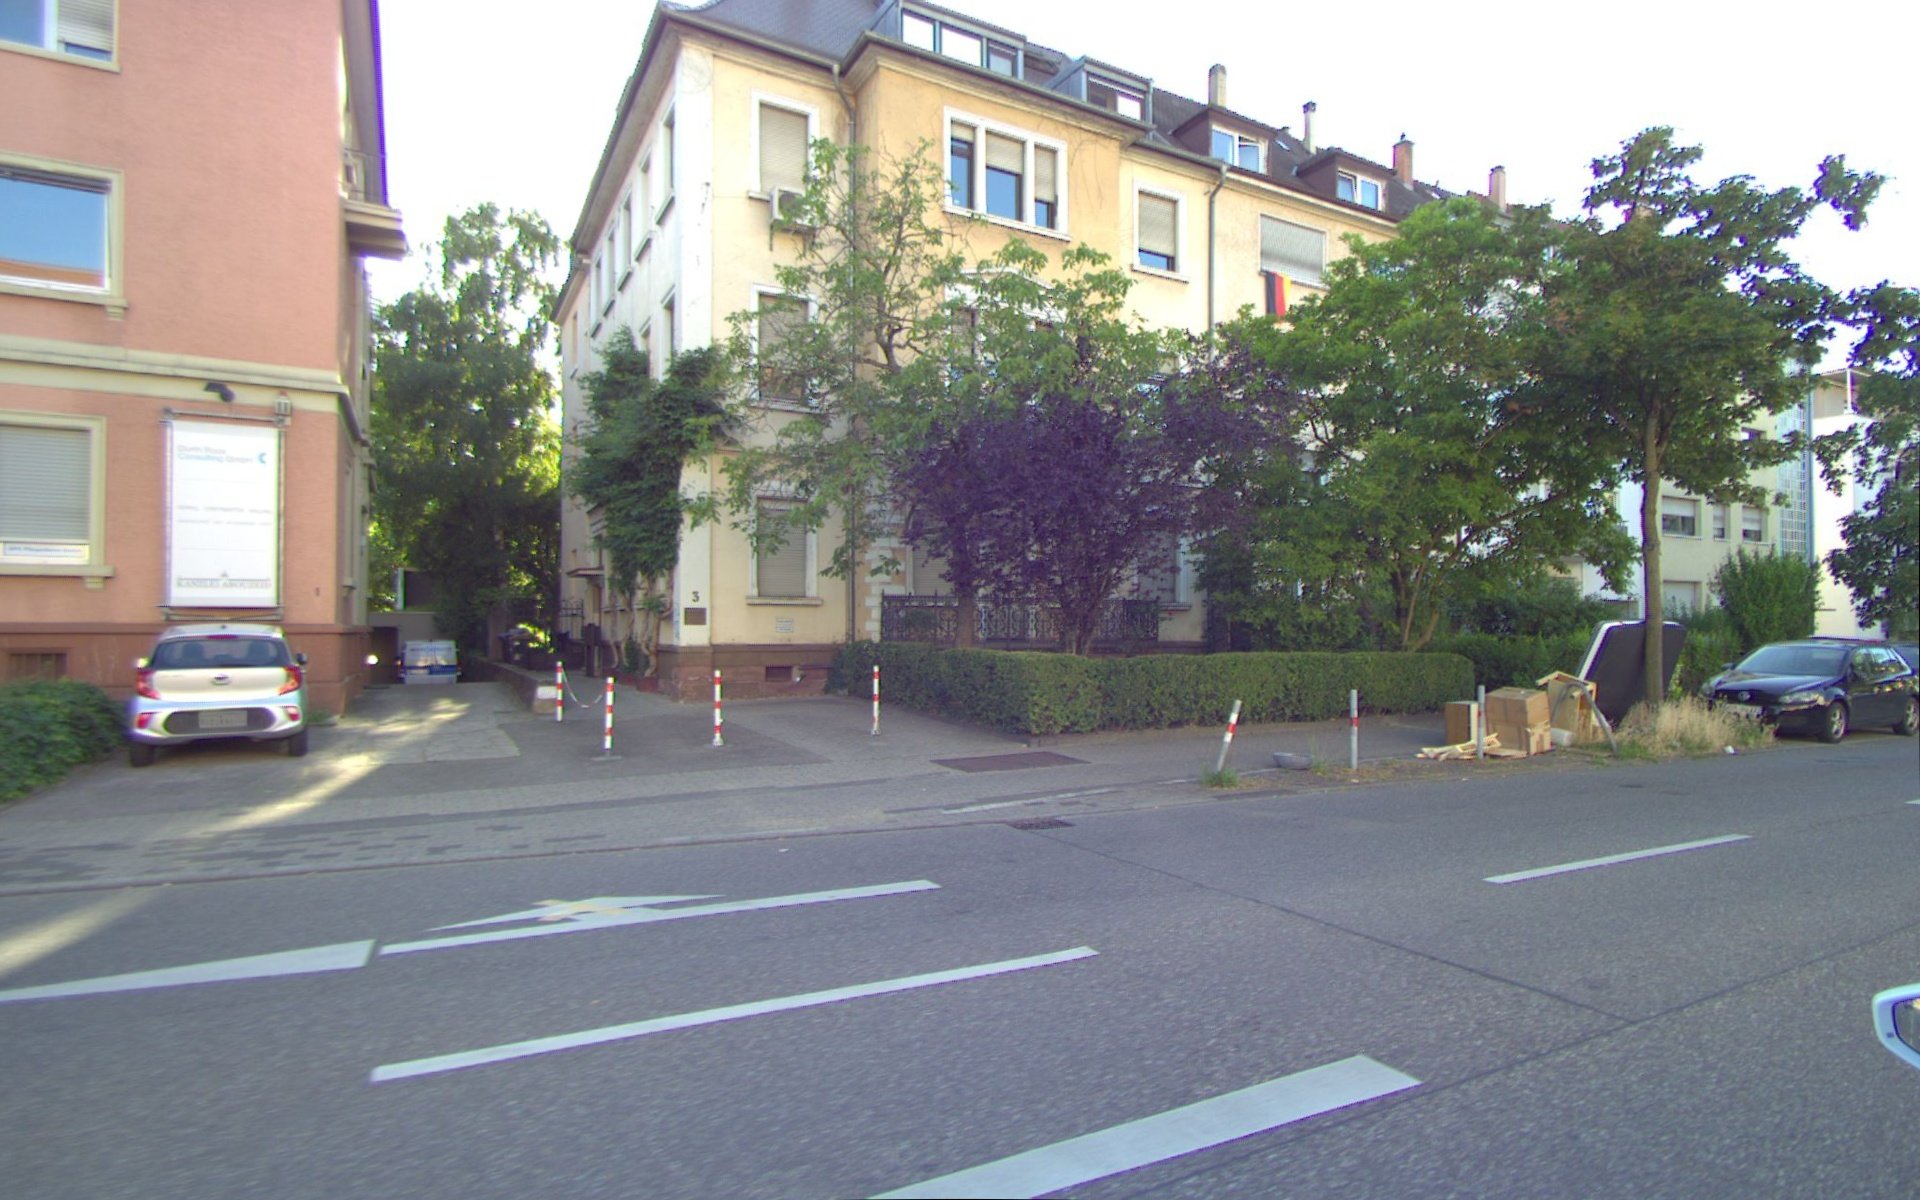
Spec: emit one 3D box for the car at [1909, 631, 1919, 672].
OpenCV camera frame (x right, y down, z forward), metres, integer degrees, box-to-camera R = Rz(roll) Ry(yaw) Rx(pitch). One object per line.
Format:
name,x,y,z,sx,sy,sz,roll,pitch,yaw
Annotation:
car,37.843,1.949,36.917,1.978,1.498,3.965,1,-1,-32

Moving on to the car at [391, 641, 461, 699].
car,-17.989,2.290,33.736,1.796,1.785,3.955,1,-2,-32

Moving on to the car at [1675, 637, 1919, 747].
car,13.501,1.376,16.087,4.146,1.522,1.743,1,-1,-29

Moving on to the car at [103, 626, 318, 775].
car,-8.878,1.070,12.181,1.796,1.505,3.478,1,-2,-32

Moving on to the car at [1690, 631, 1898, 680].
car,25.456,1.643,30.809,1.985,1.380,4.669,1,-2,-41

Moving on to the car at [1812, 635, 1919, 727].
car,17.710,1.424,18.572,3.930,1.522,1.743,1,-1,-29

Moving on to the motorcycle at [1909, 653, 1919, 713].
motorcycle,20.237,1.674,20.212,1.672,1.207,0.442,0,-1,9
